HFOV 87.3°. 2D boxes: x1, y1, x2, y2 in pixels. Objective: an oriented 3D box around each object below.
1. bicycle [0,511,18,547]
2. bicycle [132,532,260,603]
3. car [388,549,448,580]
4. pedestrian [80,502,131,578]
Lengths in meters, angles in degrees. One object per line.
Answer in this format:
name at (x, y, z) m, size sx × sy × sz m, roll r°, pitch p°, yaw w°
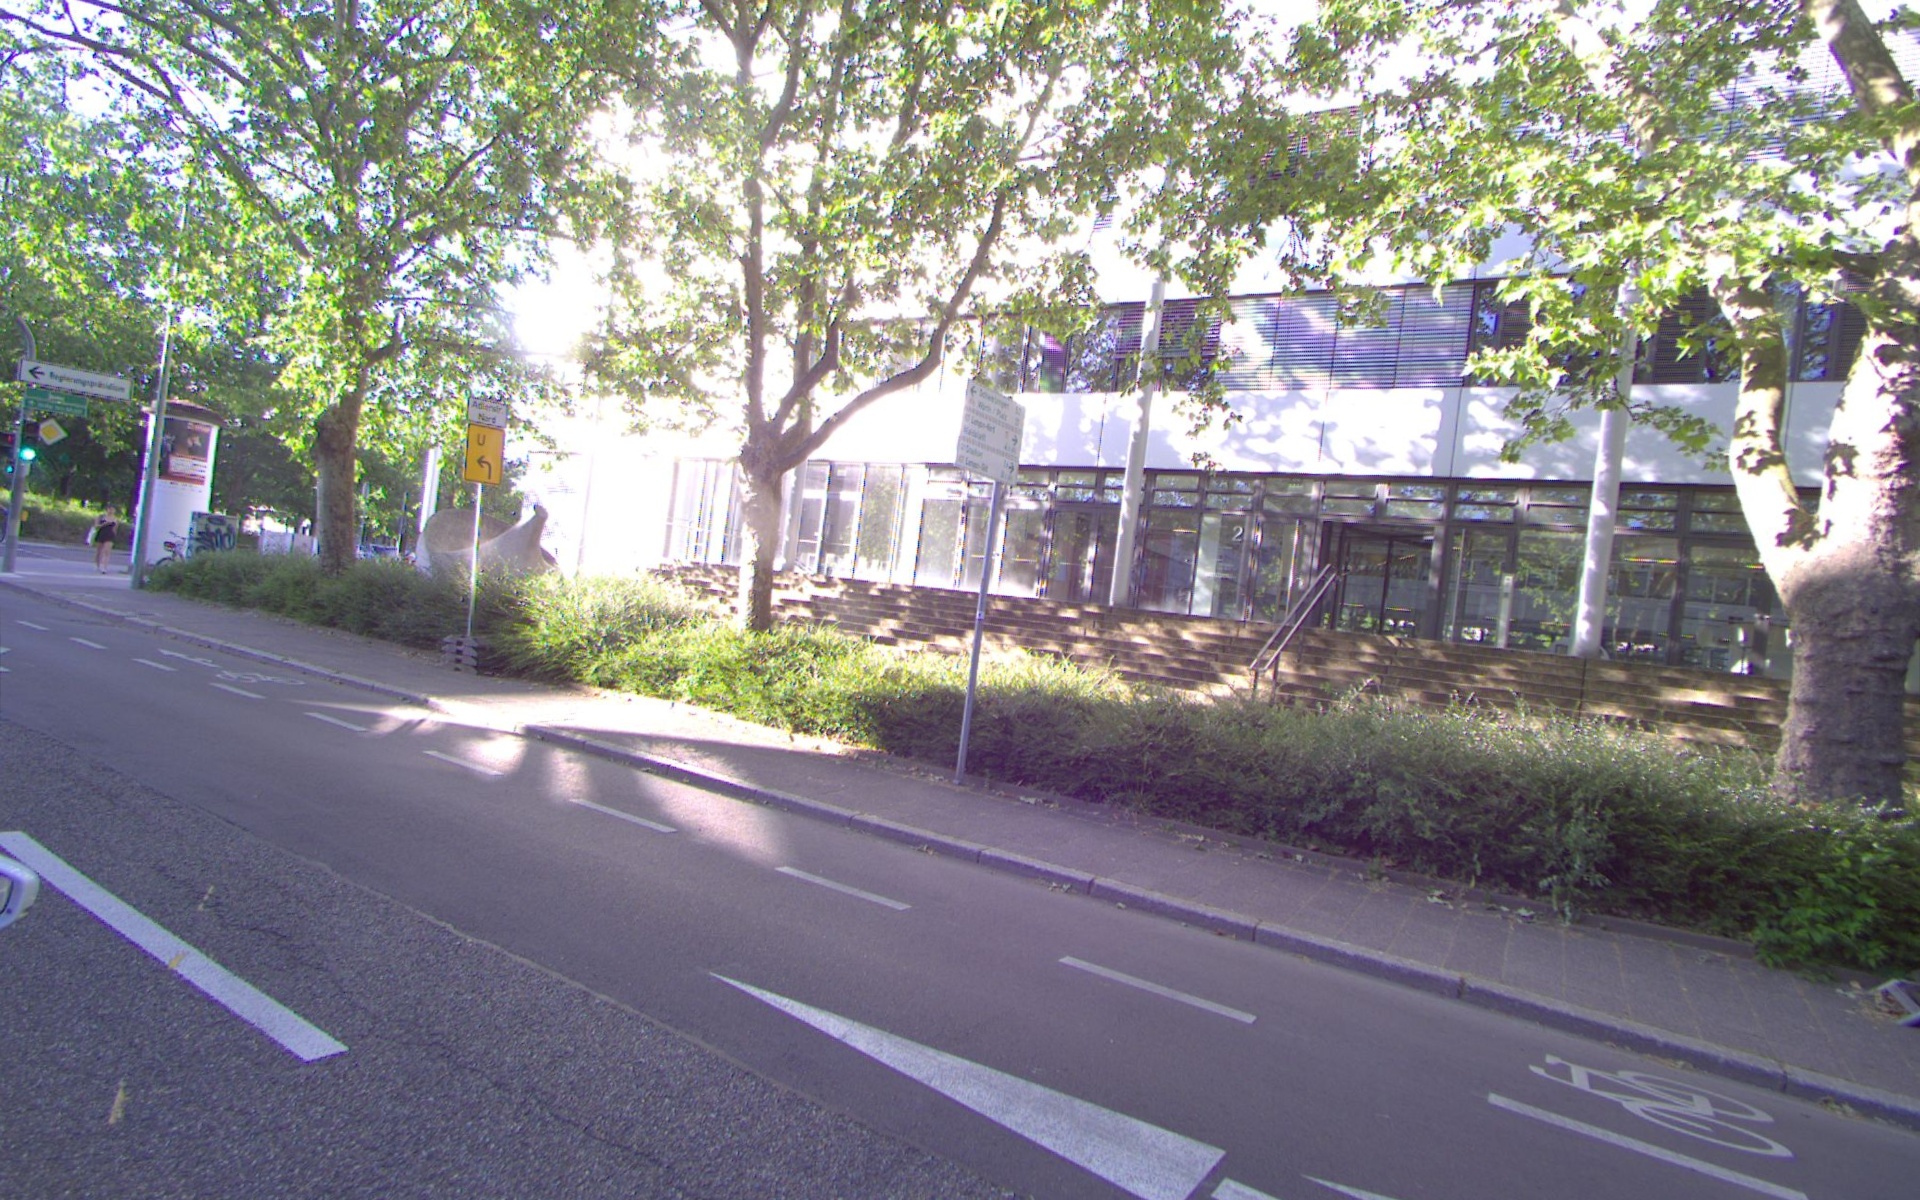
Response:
bicycle at (-31.409, -2.355, 32.839) m, size 1.714 × 1.113 × 0.525 m, roll 6°, pitch -1°, yaw 35°
bicycle at (-15.941, -0.657, 21.058) m, size 0.519 × 1.203 × 1.980 m, roll 7°, pitch -2°, yaw 30°
car at (-35.567, -2.335, 65.972) m, size 3.732 × 1.500 × 1.633 m, roll 6°, pitch -2°, yaw 31°
pedestrian at (-19.837, -1.395, 23.367) m, size 0.794 × 1.651 × 0.897 m, roll 5°, pitch 1°, yaw -41°
